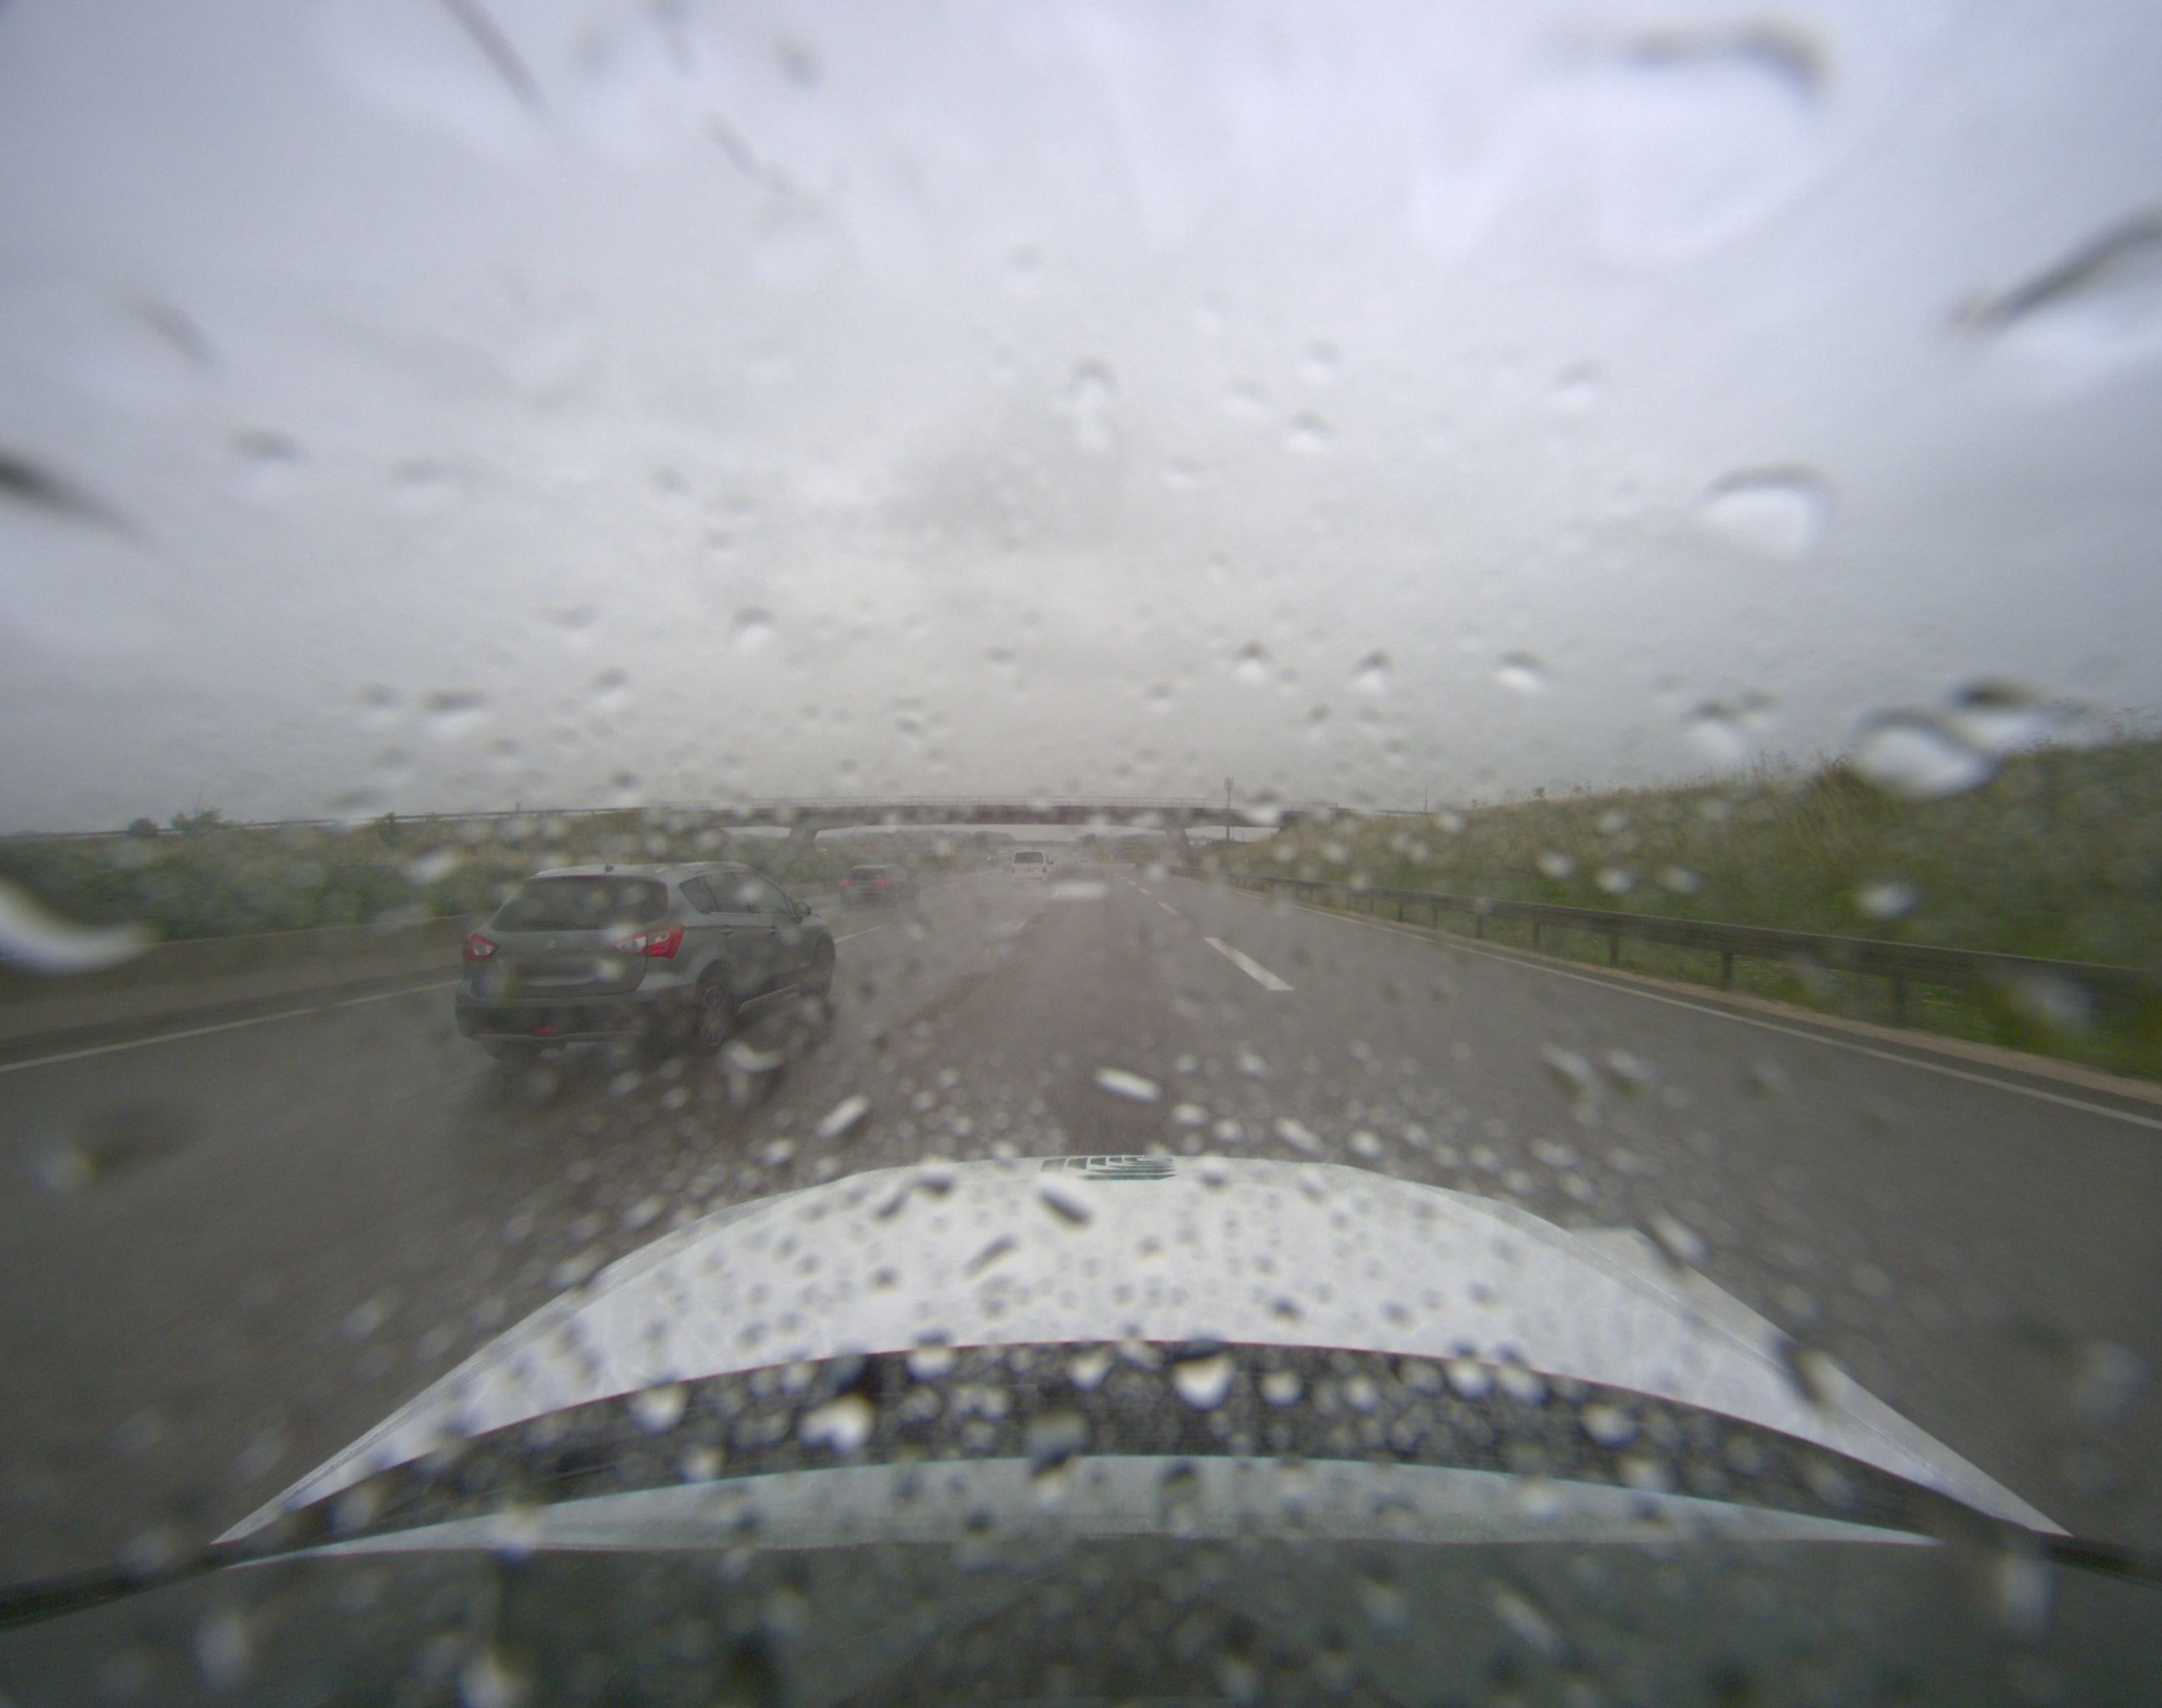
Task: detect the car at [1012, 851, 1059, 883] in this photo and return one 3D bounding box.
[{"bbox_3d":[-2.352,0.651,42.756,1.888,1.585,4.006,0,-1,5],"label":"car"}]

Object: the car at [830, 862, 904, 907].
[{"bbox_3d":[-7.138,0.971,27.503,1.609,1.354,3.995,-1,0,-3],"label":"car"}]

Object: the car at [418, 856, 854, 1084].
[{"bbox_3d":[-3.702,0.803,7.965,1.842,1.513,4.751,-1,0,-3],"label":"car"}]

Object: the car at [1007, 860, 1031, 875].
[{"bbox_3d":[-5.454,1.156,71.581,1.460,1.257,3.346,-1,-1,6],"label":"car"}]

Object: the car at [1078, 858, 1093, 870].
[{"bbox_3d":[0.495,0.982,82.683,1.462,1.208,2.992,-1,-1,1],"label":"car"}]
